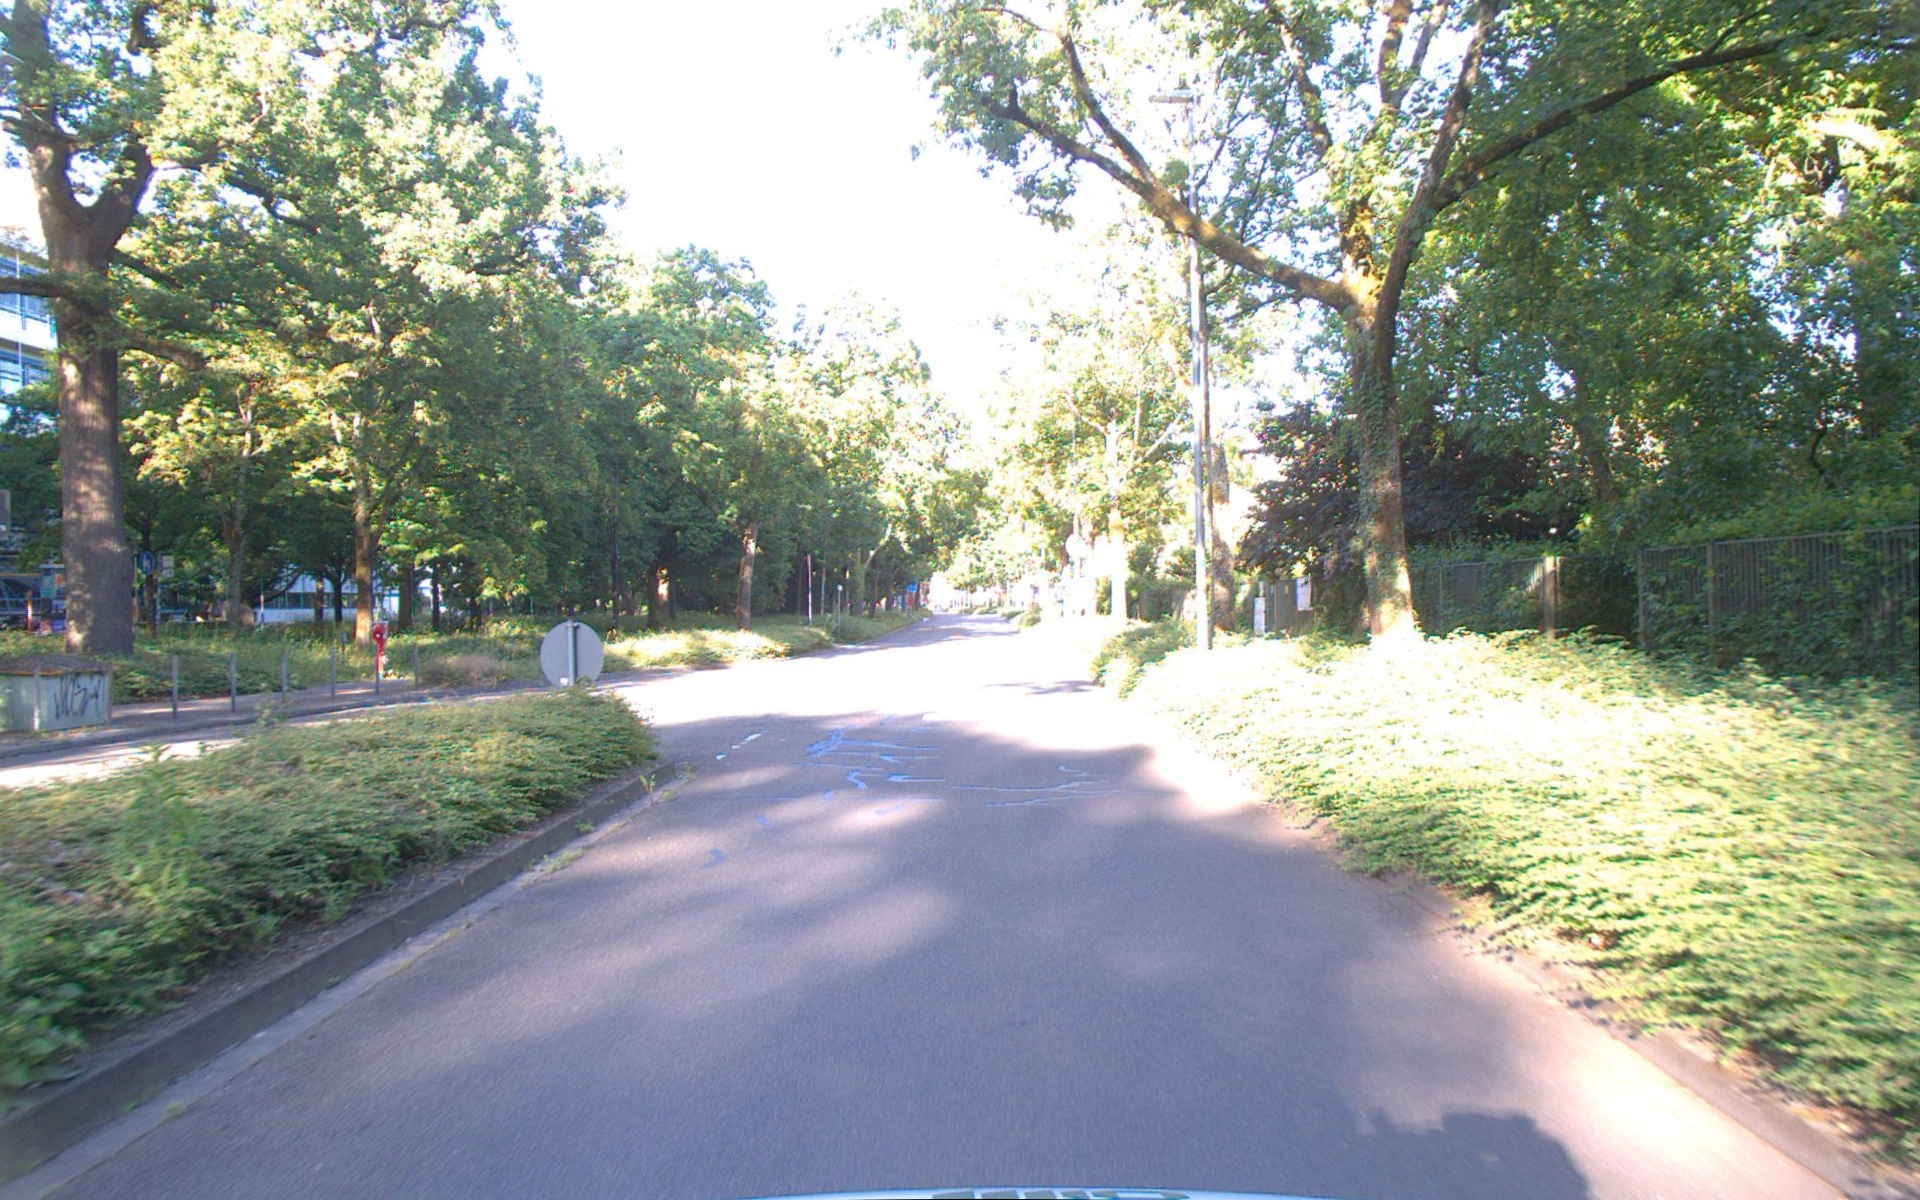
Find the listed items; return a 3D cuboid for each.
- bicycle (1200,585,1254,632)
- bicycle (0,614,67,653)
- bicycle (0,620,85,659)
[{"bbox_3d":[7.636,0.229,47.172,0.866,1.221,2.325,-3,0,25],"label":"bicycle"},{"bbox_3d":[-28.658,1.007,50.680,0.524,1.090,2.636,3,2,18],"label":"bicycle"},{"bbox_3d":[-27.511,1.169,49.398,0.527,1.090,2.418,2,2,39],"label":"bicycle"}]
